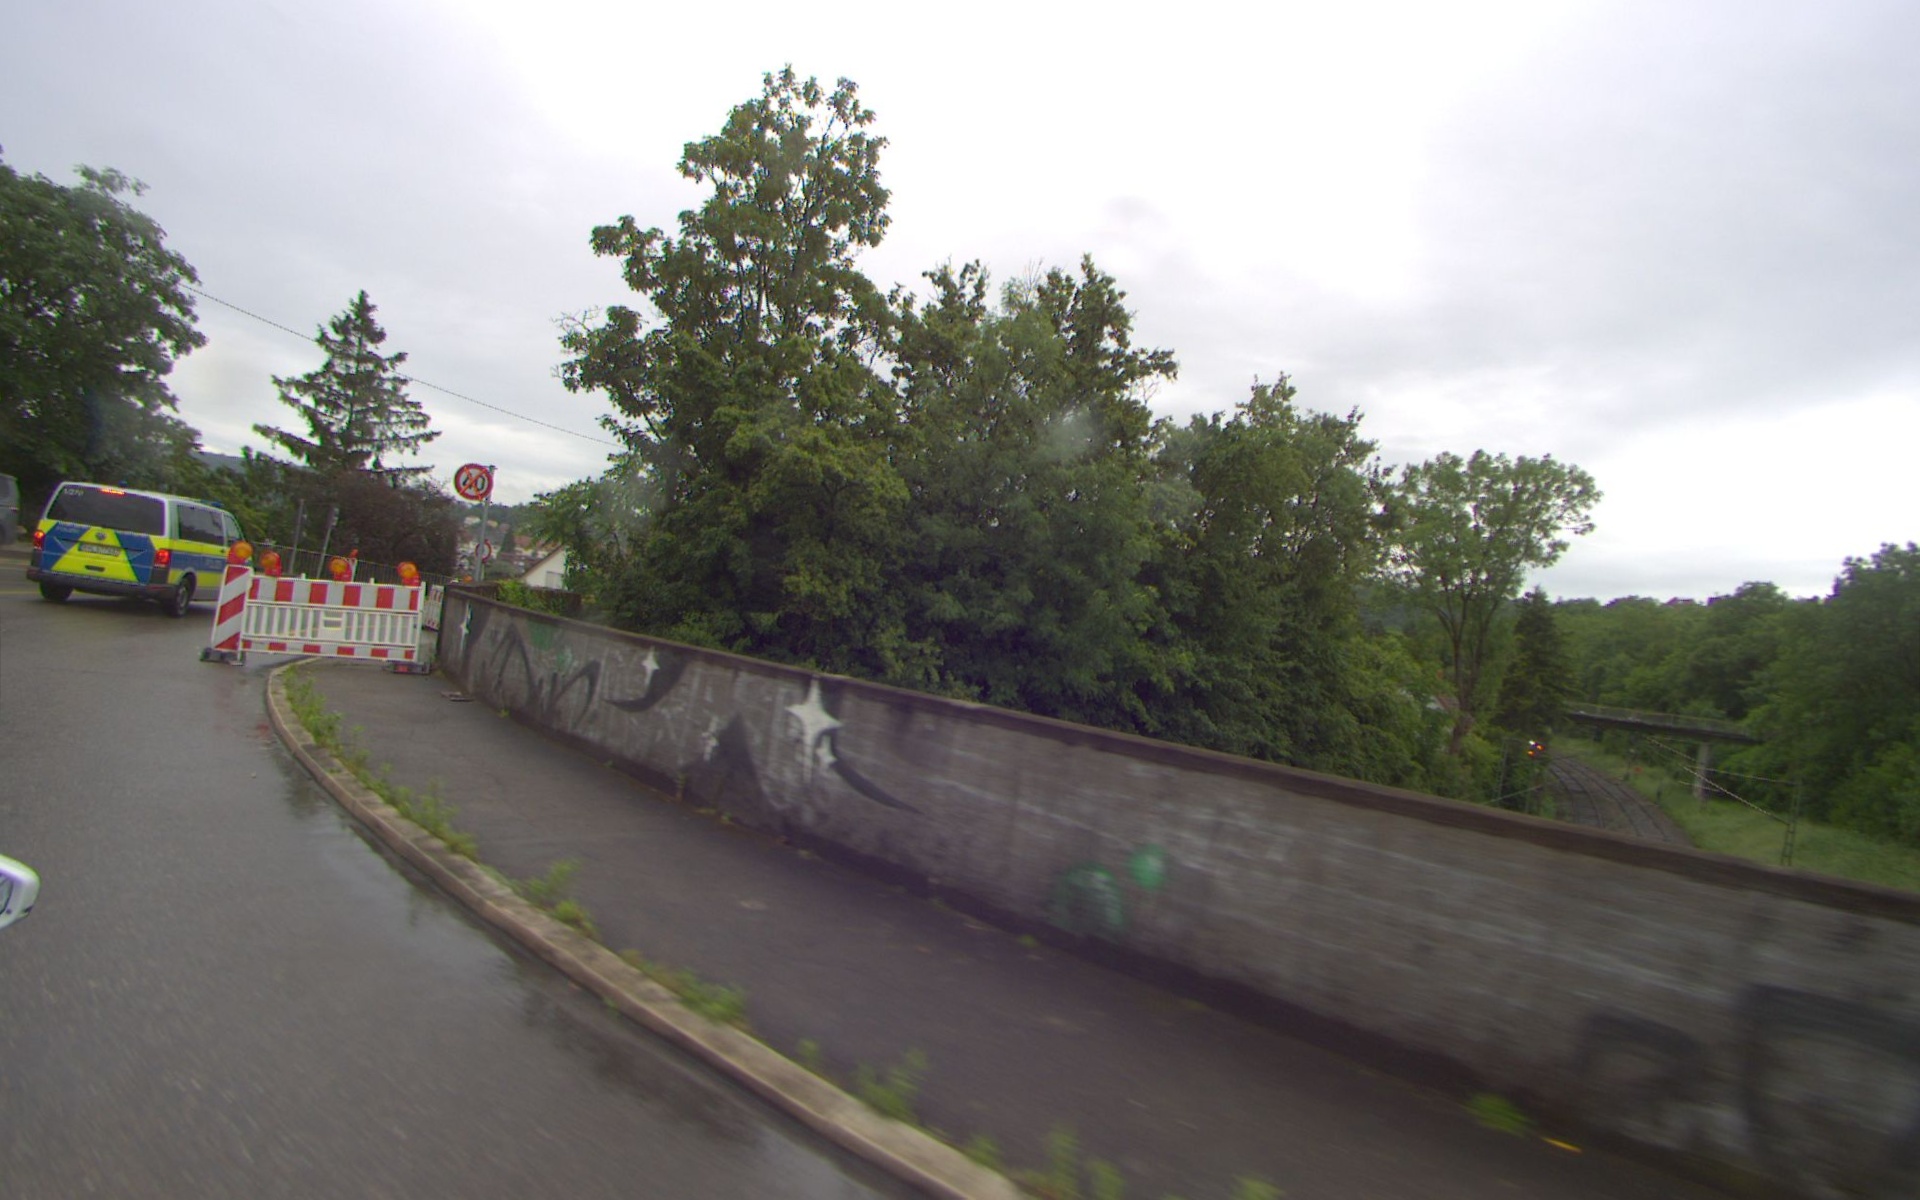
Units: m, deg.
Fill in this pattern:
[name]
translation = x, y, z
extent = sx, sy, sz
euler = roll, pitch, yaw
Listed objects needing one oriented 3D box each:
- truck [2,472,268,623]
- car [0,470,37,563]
[truck]
translation = -14.123, -0.803, 17.635
extent = 1.972, 2.037, 4.715
euler = 7, -2, -20
[car]
translation = -22.650, -2.176, 20.933
extent = 1.964, 2.035, 4.954
euler = 10, -3, 1
